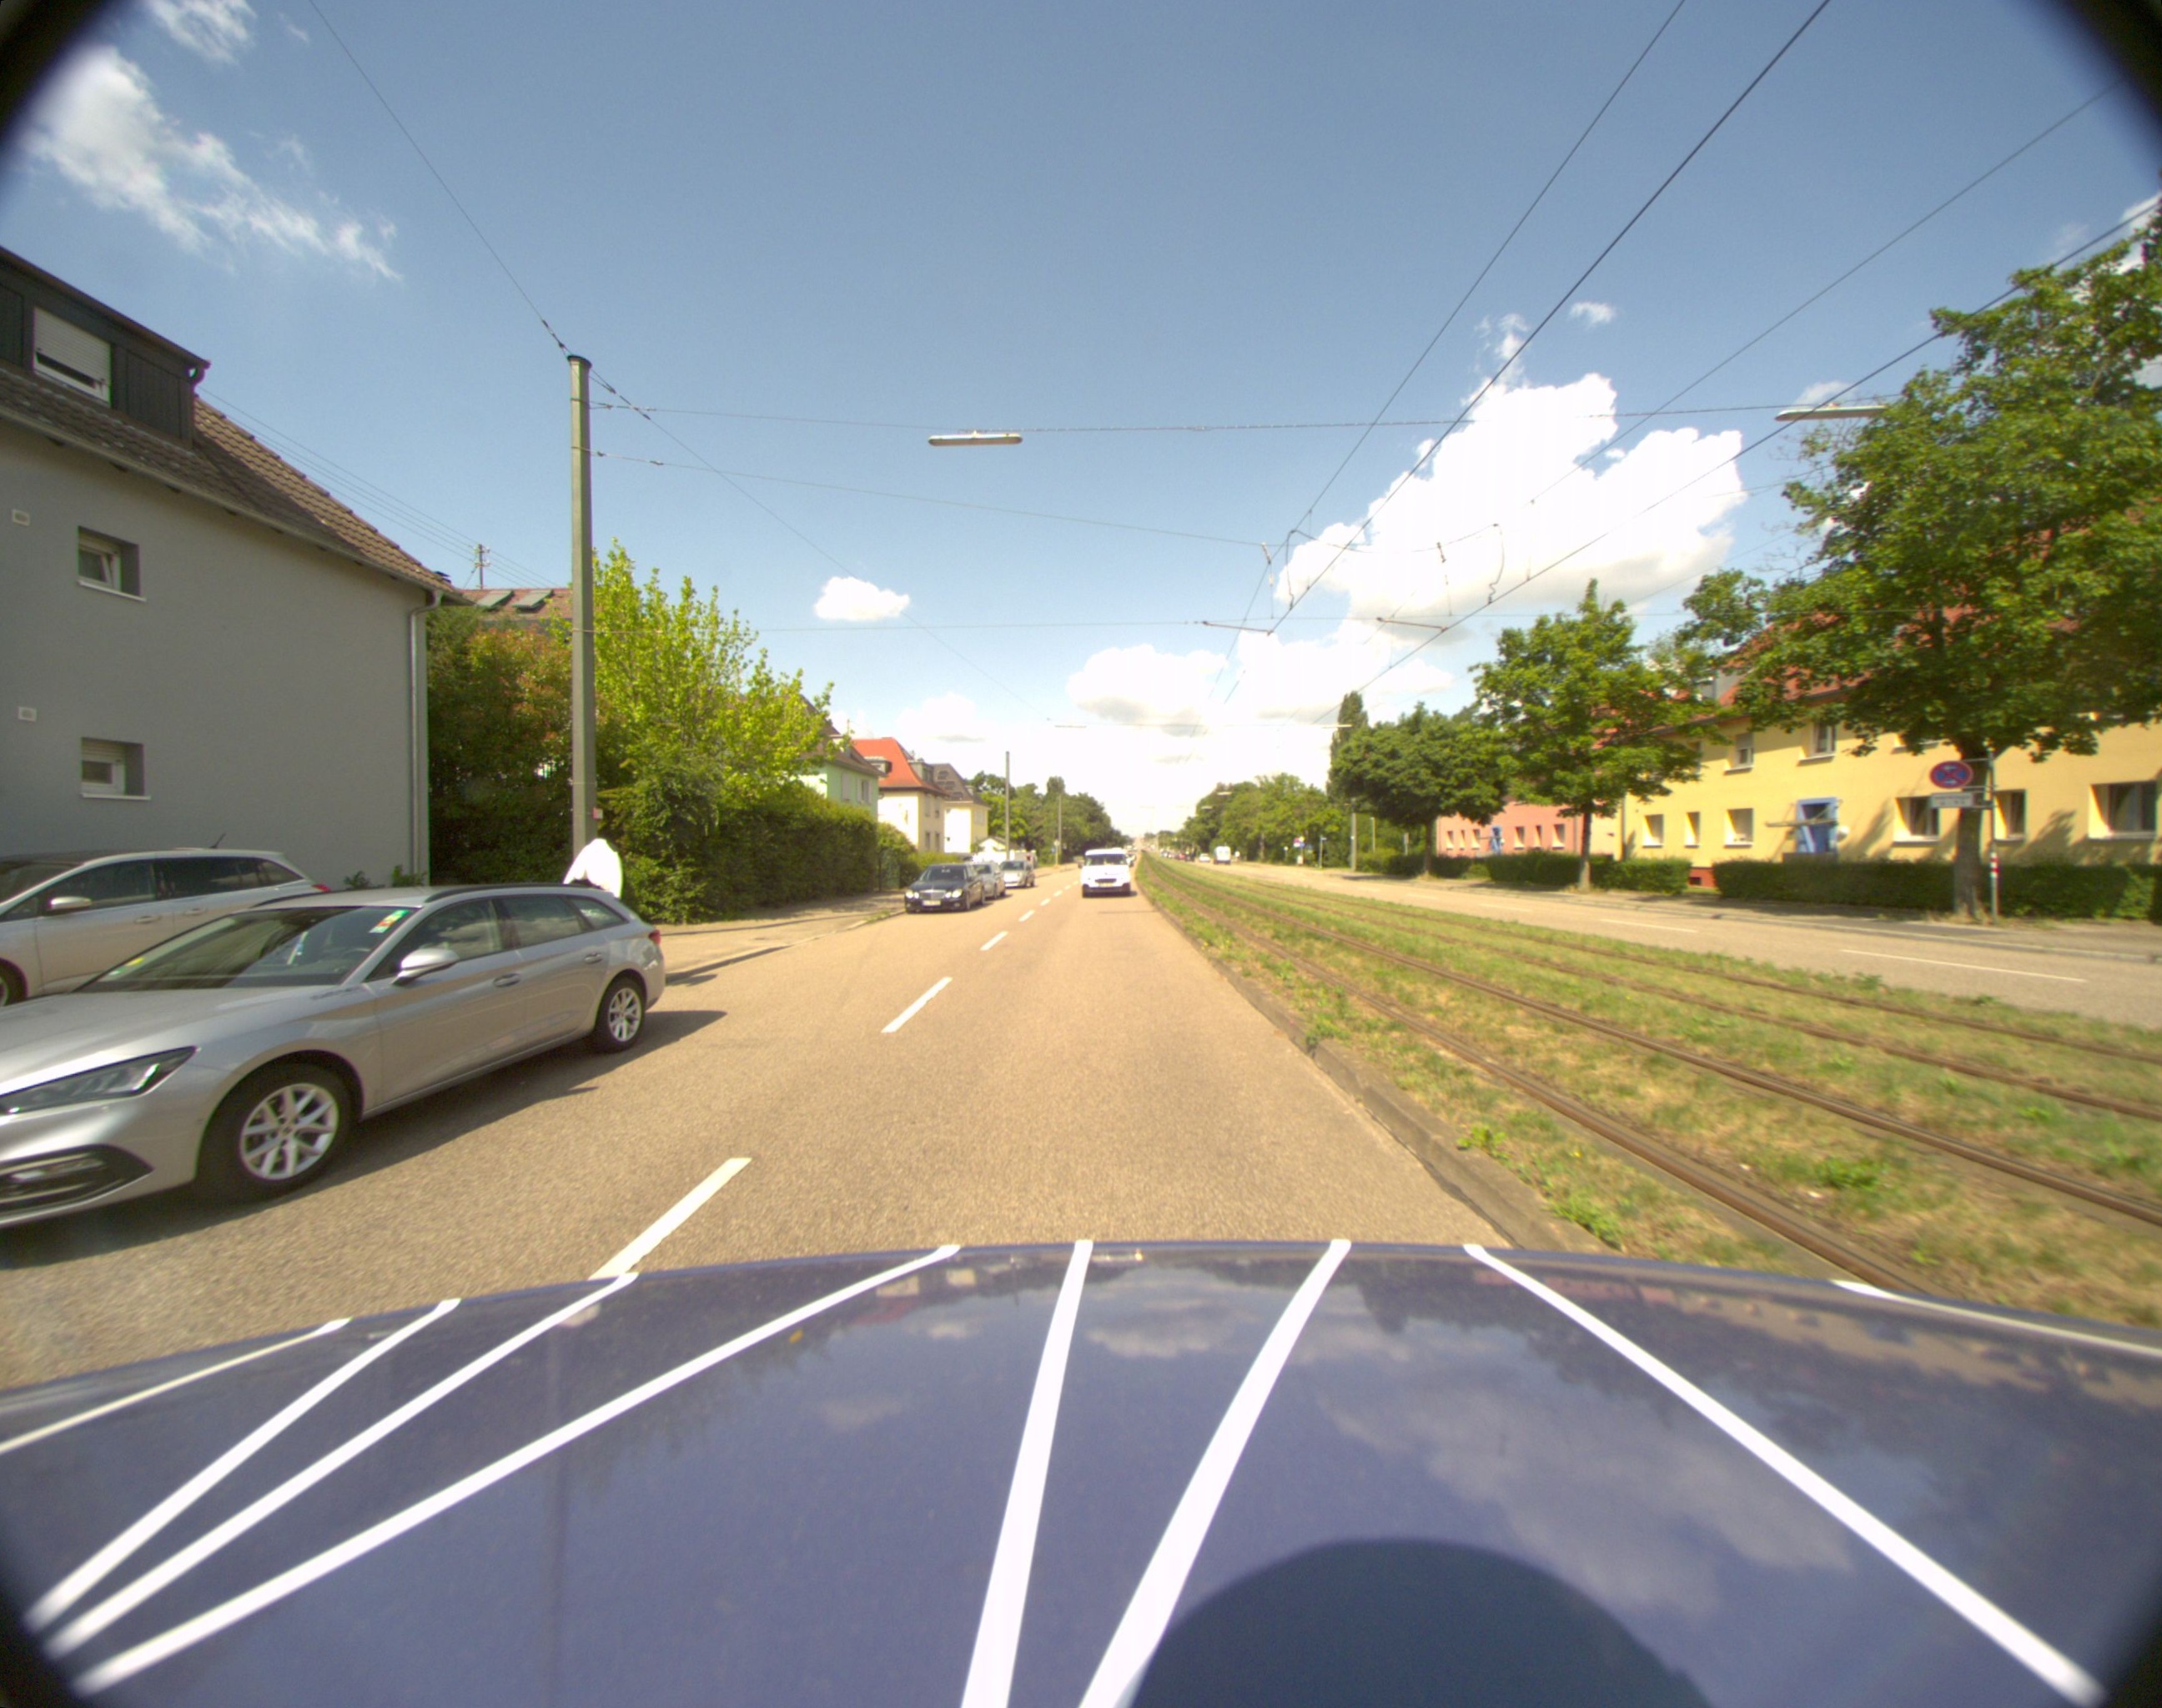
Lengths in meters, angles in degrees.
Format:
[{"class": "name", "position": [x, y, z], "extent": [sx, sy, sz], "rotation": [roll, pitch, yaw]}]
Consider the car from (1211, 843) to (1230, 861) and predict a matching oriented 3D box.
[{"class": "car", "position": [19.855, -0.266, 108.200], "extent": [2.036, 2.422, 5.779], "rotation": [2, 0, 4]}]

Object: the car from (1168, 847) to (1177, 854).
[{"class": "car", "position": [23.287, -0.943, 192.566], "extent": [2.120, 1.642, 4.278], "rotation": [0, 0, 5]}]

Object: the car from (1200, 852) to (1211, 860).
[{"class": "car", "position": [22.627, 0.290, 138.371], "extent": [1.689, 1.422, 4.278], "rotation": [0, 0, 4]}]

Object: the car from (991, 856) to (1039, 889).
[{"class": "car", "position": [-3.278, 0.897, 38.596], "extent": [1.741, 1.481, 4.095], "rotation": [-2, 1, 4]}]

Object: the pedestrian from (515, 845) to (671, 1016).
[{"class": "pedestrian", "position": [-5.819, 0.862, 9.148], "extent": [1.114, 1.934, 1.092], "rotation": [0, 1, 3]}]

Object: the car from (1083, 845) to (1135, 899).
[{"class": "car", "position": [1.011, 0.639, 29.099], "extent": [1.777, 1.850, 4.375], "rotation": [-1, 0, 0]}]

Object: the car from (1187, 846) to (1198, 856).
[{"class": "car", "position": [20.102, -0.579, 137.184], "extent": [1.689, 1.736, 4.229], "rotation": [0, 0, 4]}]

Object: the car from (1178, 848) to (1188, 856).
[{"class": "car", "position": [21.217, -0.385, 158.624], "extent": [1.731, 1.569, 4.277], "rotation": [0, 0, 3]}]

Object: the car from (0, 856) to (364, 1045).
[{"class": "car", "position": [-10.675, 0.886, 8.038], "extent": [1.761, 1.637, 4.768], "rotation": [1, 1, -2]}]

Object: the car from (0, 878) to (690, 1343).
[{"class": "car", "position": [-4.702, 0.998, 4.942], "extent": [1.819, 1.445, 4.643], "rotation": [-2, 1, 1]}]

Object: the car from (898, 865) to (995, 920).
[{"class": "car", "position": [-4.069, 1.110, 23.846], "extent": [1.904, 1.435, 5.058], "rotation": [-2, 0, 2]}]

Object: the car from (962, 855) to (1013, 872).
[{"class": "car", "position": [-8.764, 0.885, 71.402], "extent": [4.458, 1.452, 1.764], "rotation": [1, 0, 4]}]

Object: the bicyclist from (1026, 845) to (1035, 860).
[{"class": "bicyclist", "position": [-4.602, -0.104, 69.287], "extent": [0.689, 1.345, 0.665], "rotation": [0, 1, 10]}]

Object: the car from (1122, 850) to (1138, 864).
[{"class": "car", "position": [6.195, 0.380, 95.599], "extent": [1.998, 1.576, 4.001], "rotation": [-2, 1, 4]}]

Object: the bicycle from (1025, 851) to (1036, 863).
[{"class": "bicycle", "position": [-4.599, 0.244, 69.246], "extent": [0.556, 1.059, 1.524], "rotation": [0, 0, 10]}]

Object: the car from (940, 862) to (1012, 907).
[{"class": "car", "position": [-3.918, 1.097, 29.282], "extent": [1.894, 1.447, 5.006], "rotation": [-2, 1, 2]}]
